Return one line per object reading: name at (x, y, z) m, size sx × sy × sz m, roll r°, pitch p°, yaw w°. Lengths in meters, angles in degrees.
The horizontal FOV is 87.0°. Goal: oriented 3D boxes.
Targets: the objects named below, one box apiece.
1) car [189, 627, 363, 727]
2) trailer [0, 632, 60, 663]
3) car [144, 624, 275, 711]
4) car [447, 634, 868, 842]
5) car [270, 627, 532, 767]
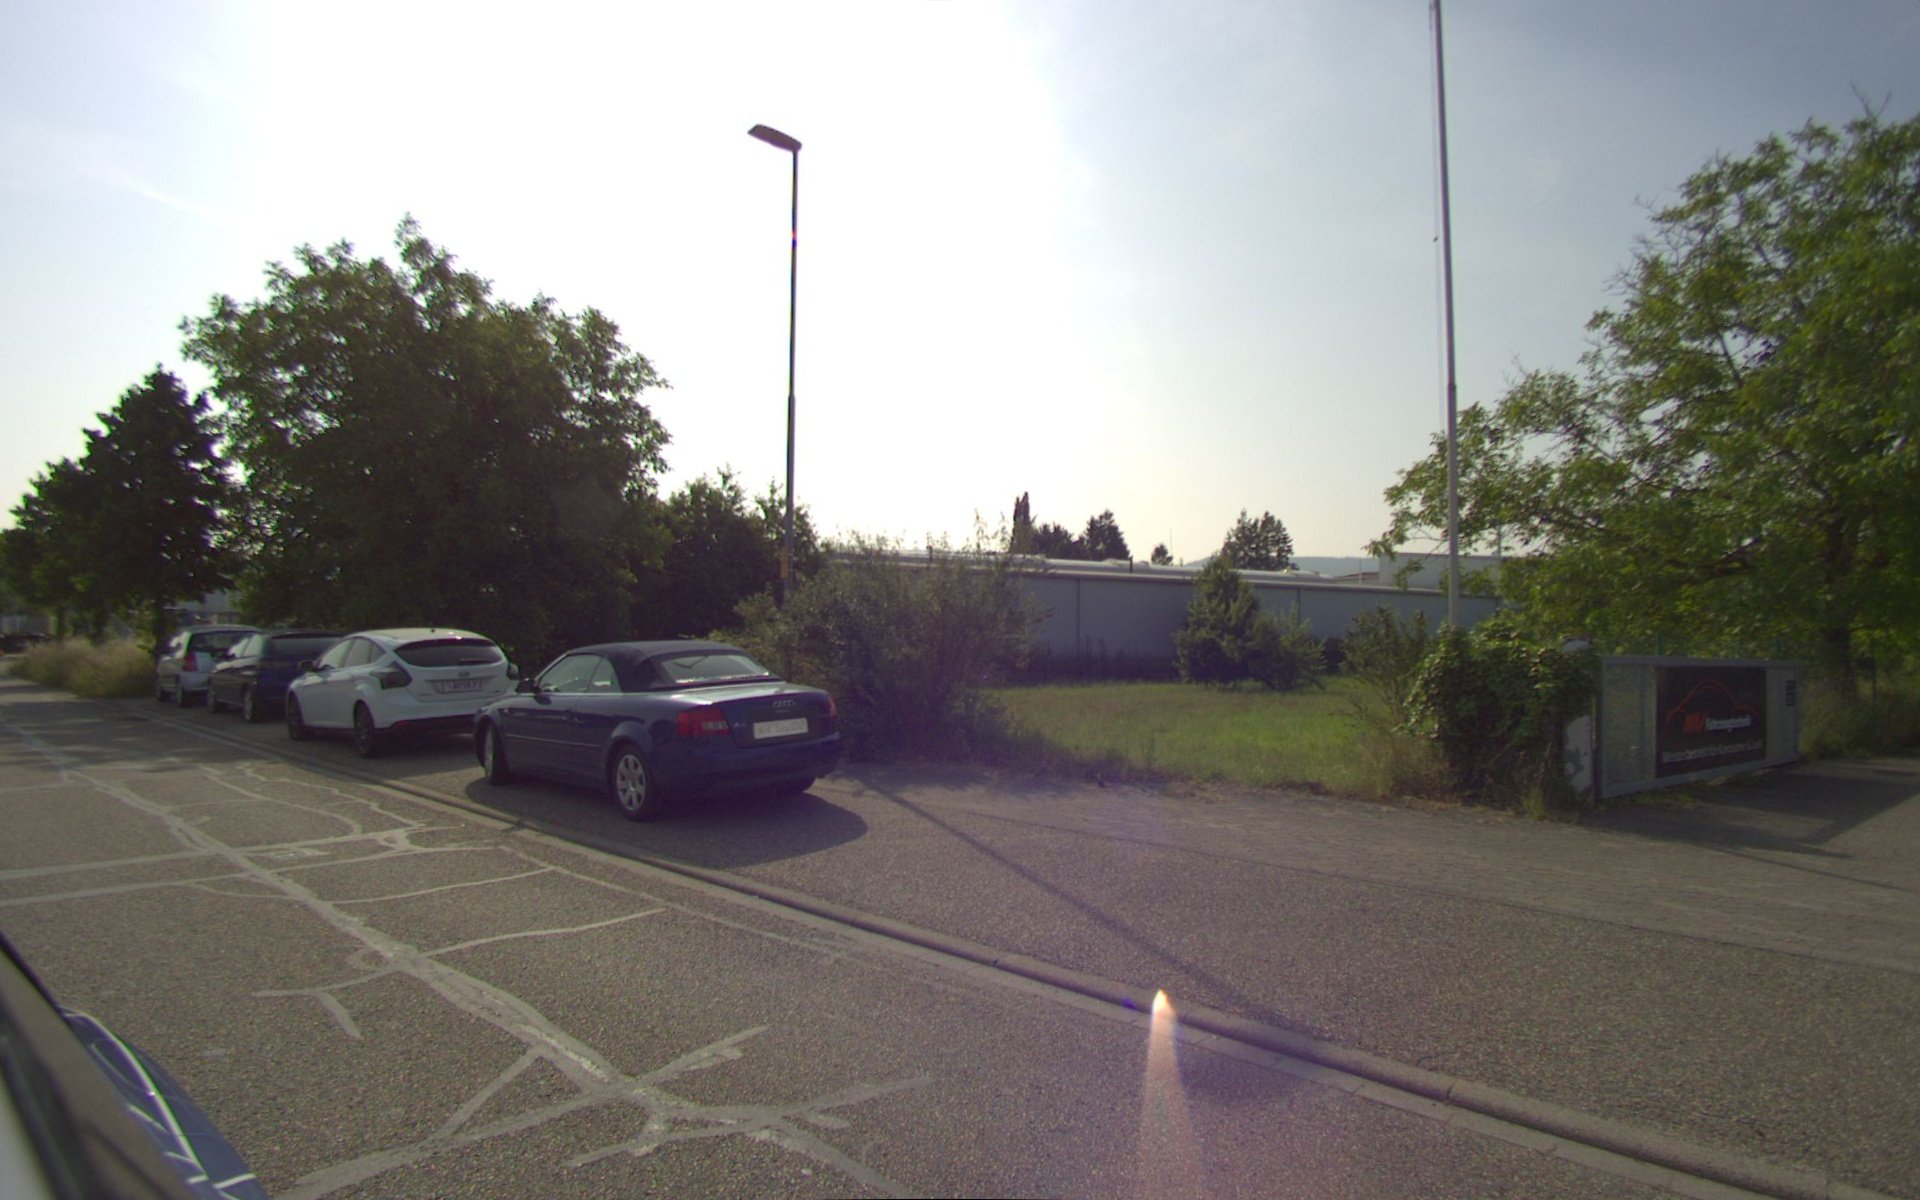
car at (-11.557, 1.198, 16.998) m, size 3.963 × 1.454 × 1.561 m, roll -1°, pitch -1°, yaw 43°
trailer at (-42.532, 2.059, 45.101) m, size 9.359 × 1.193 × 2.555 m, roll -1°, pitch -1°, yaw 42°
car at (-14.926, 1.255, 20.066) m, size 3.689 × 1.550 × 1.549 m, roll -1°, pitch -1°, yaw 44°
car at (-2.924, 1.043, 9.186) m, size 4.368 × 1.398 × 1.616 m, roll -1°, pitch -1°, yaw 42°
car at (-7.312, 1.107, 13.039) m, size 4.252 × 1.480 × 1.666 m, roll -1°, pitch -1°, yaw 42°
